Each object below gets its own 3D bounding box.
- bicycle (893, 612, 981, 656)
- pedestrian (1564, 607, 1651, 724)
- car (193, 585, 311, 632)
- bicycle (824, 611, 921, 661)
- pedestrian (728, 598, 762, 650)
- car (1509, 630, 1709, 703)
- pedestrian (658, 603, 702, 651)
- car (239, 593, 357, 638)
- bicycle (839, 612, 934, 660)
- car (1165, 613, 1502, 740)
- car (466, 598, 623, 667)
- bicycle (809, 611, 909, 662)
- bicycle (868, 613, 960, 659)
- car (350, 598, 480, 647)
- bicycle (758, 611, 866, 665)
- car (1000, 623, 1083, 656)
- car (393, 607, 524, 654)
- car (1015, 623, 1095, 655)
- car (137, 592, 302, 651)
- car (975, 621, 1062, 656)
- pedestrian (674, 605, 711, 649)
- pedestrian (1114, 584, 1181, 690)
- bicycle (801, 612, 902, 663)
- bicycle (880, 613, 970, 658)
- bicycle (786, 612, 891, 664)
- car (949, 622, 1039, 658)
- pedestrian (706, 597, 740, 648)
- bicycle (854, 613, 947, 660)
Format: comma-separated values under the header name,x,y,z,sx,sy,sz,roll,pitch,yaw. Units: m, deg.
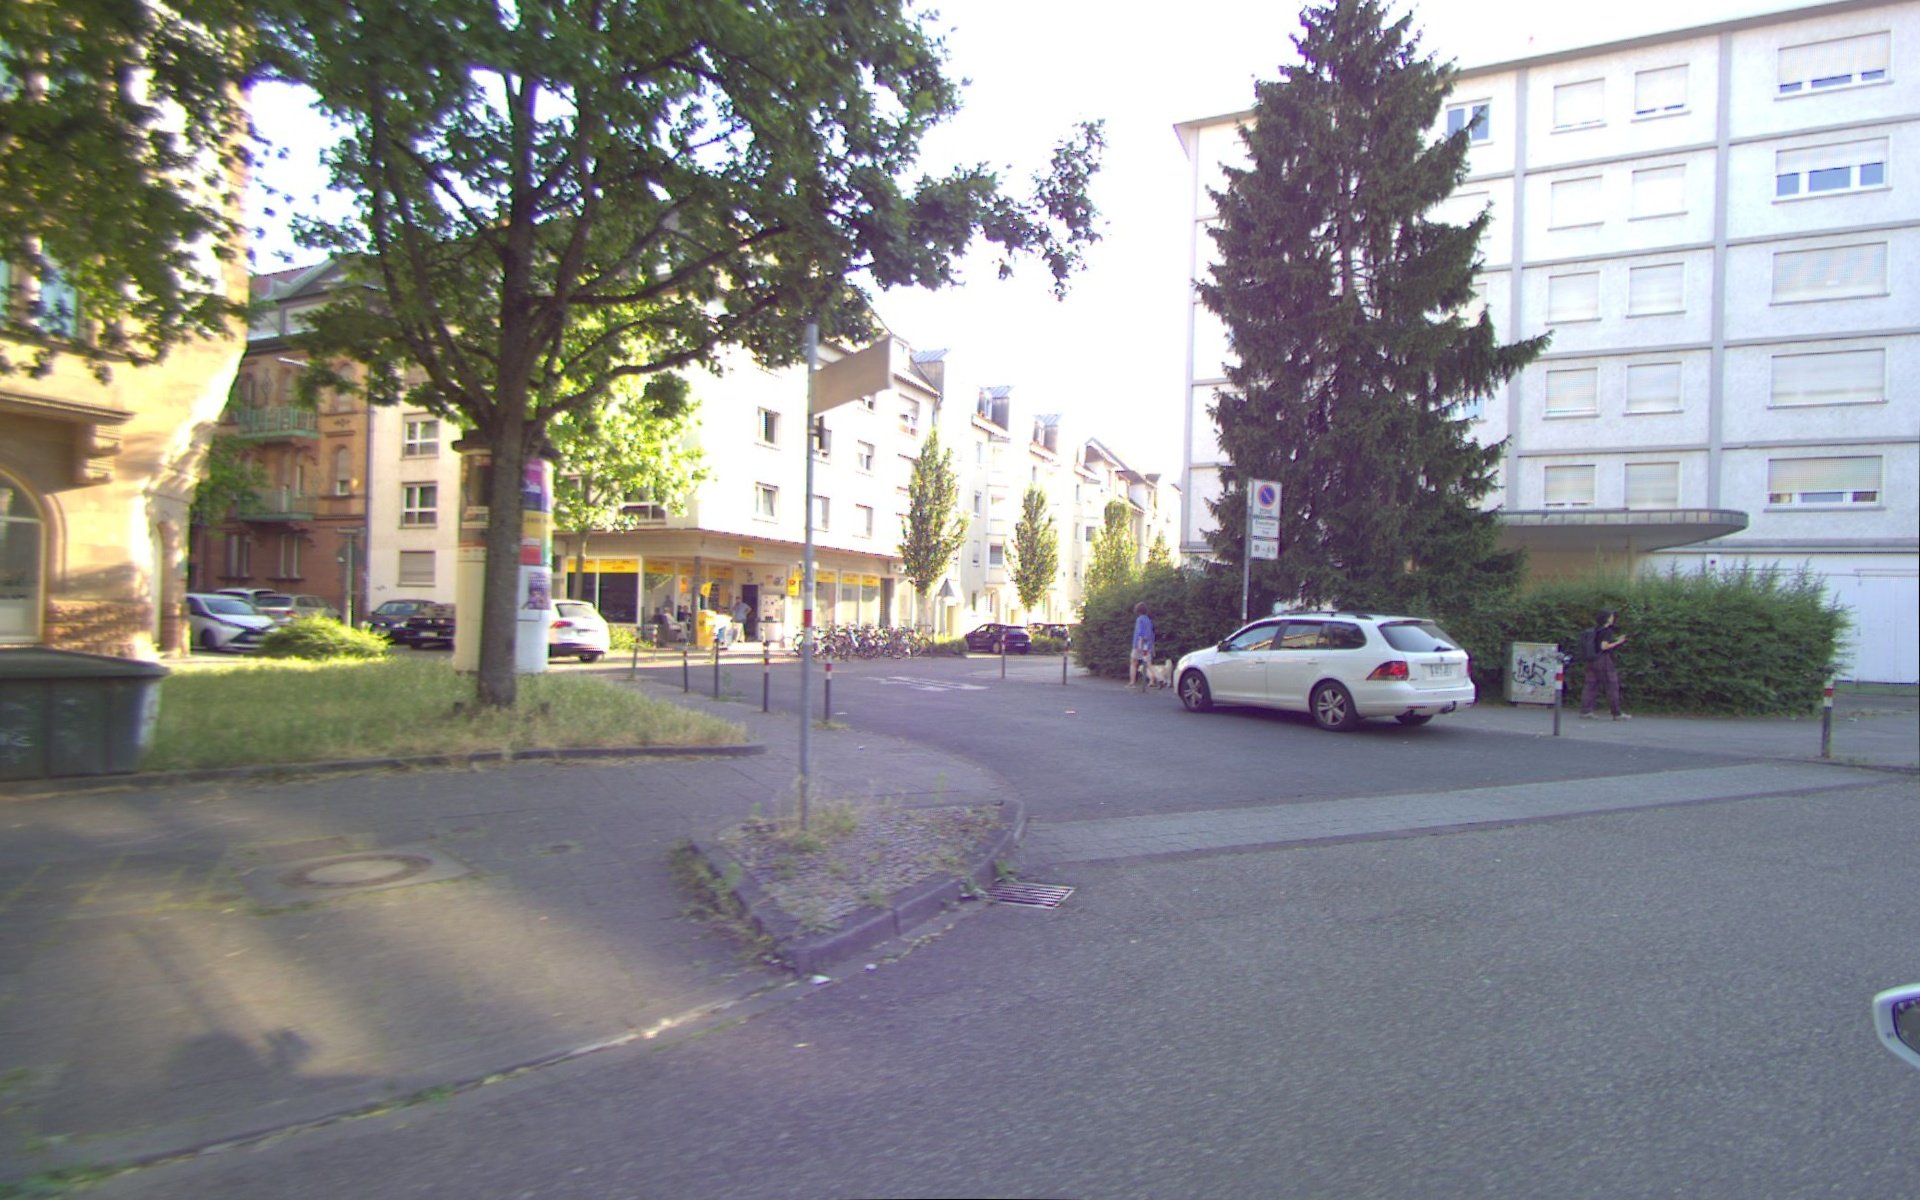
name,x,y,z,sx,sy,sz,roll,pitch,yaw
bicycle,-0.916,1.294,38.638,3.318,1.464,0.880,3,0,28
pedestrian,10.154,1.006,15.758,0.861,1.759,0.824,2,0,-32
car,-27.064,0.356,38.590,1.837,1.657,3.998,1,-1,-4
bicycle,-3.025,1.210,34.484,3.318,1.464,0.880,3,0,28
pedestrian,-8.102,0.903,37.878,0.836,1.899,0.890,1,-1,25
car,15.633,1.563,24.470,3.927,1.553,1.997,1,-1,29
pedestrian,-10.004,0.959,35.916,0.946,1.688,1.214,1,-1,26
car,-24.312,0.580,37.076,1.837,1.525,3.998,1,-1,-4
bicycle,-2.596,1.255,35.235,3.318,1.464,0.880,3,0,28
car,4.971,0.919,14.029,1.899,1.470,4.265,1,-1,-28
car,-10.933,0.807,26.310,4.464,1.669,1.934,0,-1,40
bicycle,-3.400,1.211,33.600,3.318,1.464,0.880,3,0,28
bicycle,-1.706,1.299,36.884,3.318,1.464,0.880,3,0,28
car,-18.814,0.784,34.886,1.835,1.589,4.003,1,-1,11
bicycle,-4.473,1.125,30.235,3.318,1.464,0.880,2,-1,28
car,4.260,2.062,52.534,3.927,1.579,1.743,1,-1,29
car,-16.276,0.984,32.825,1.835,1.418,4.003,1,-1,8
car,5.115,2.097,54.149,3.927,1.579,1.743,1,-1,29
car,-19.360,0.546,26.253,3.926,1.418,1.872,1,-1,27
car,2.874,1.872,49.490,3.927,1.579,1.743,1,-1,29
pedestrian,-9.923,1.002,37.284,0.874,1.590,0.963,1,-1,26
pedestrian,3.727,0.724,20.006,0.853,2.040,0.977,2,-1,-31
bicycle,-3.527,1.189,32.478,3.318,1.464,0.880,2,-1,28
bicycle,-1.322,1.302,37.758,3.318,1.464,0.880,3,0,28
bicycle,-3.814,1.166,31.404,3.318,1.464,0.880,2,-1,28
car,1.603,1.874,47.938,3.927,1.579,1.743,1,-1,29
pedestrian,-8.997,0.860,38.177,0.836,1.899,0.890,1,-1,25
bicycle,-2.151,1.289,36.042,3.318,1.464,0.880,3,0,28
